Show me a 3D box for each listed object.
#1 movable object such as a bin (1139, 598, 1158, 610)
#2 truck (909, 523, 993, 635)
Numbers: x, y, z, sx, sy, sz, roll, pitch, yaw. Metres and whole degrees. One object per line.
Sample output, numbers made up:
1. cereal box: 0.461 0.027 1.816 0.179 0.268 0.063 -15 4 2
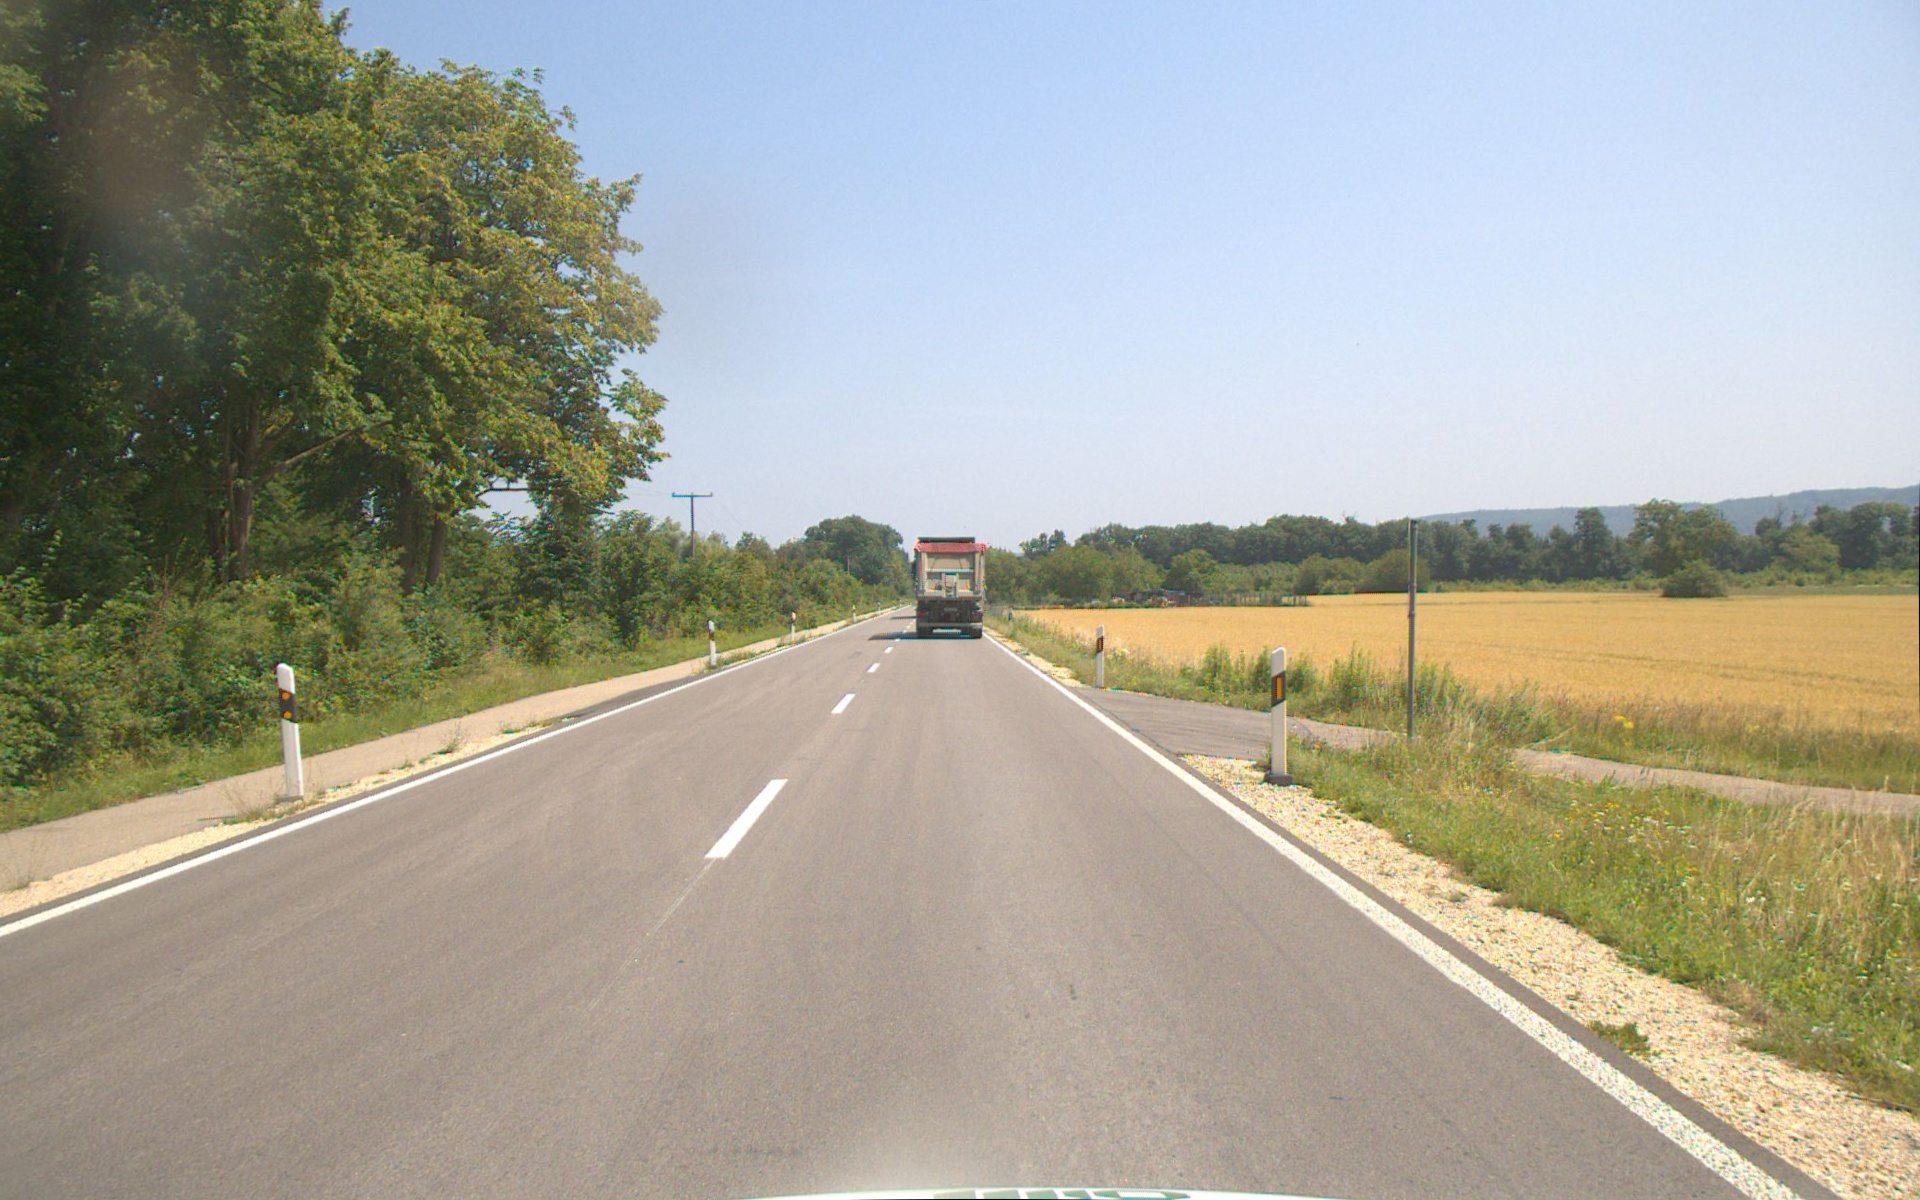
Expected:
1. movable object such as a bin: 23.222 0.508 203.673 1.540 1.522 3.654 -1 0 -5
2. truck: -0.426 -0.717 65.142 2.948 3.942 12.206 1 0 -1
